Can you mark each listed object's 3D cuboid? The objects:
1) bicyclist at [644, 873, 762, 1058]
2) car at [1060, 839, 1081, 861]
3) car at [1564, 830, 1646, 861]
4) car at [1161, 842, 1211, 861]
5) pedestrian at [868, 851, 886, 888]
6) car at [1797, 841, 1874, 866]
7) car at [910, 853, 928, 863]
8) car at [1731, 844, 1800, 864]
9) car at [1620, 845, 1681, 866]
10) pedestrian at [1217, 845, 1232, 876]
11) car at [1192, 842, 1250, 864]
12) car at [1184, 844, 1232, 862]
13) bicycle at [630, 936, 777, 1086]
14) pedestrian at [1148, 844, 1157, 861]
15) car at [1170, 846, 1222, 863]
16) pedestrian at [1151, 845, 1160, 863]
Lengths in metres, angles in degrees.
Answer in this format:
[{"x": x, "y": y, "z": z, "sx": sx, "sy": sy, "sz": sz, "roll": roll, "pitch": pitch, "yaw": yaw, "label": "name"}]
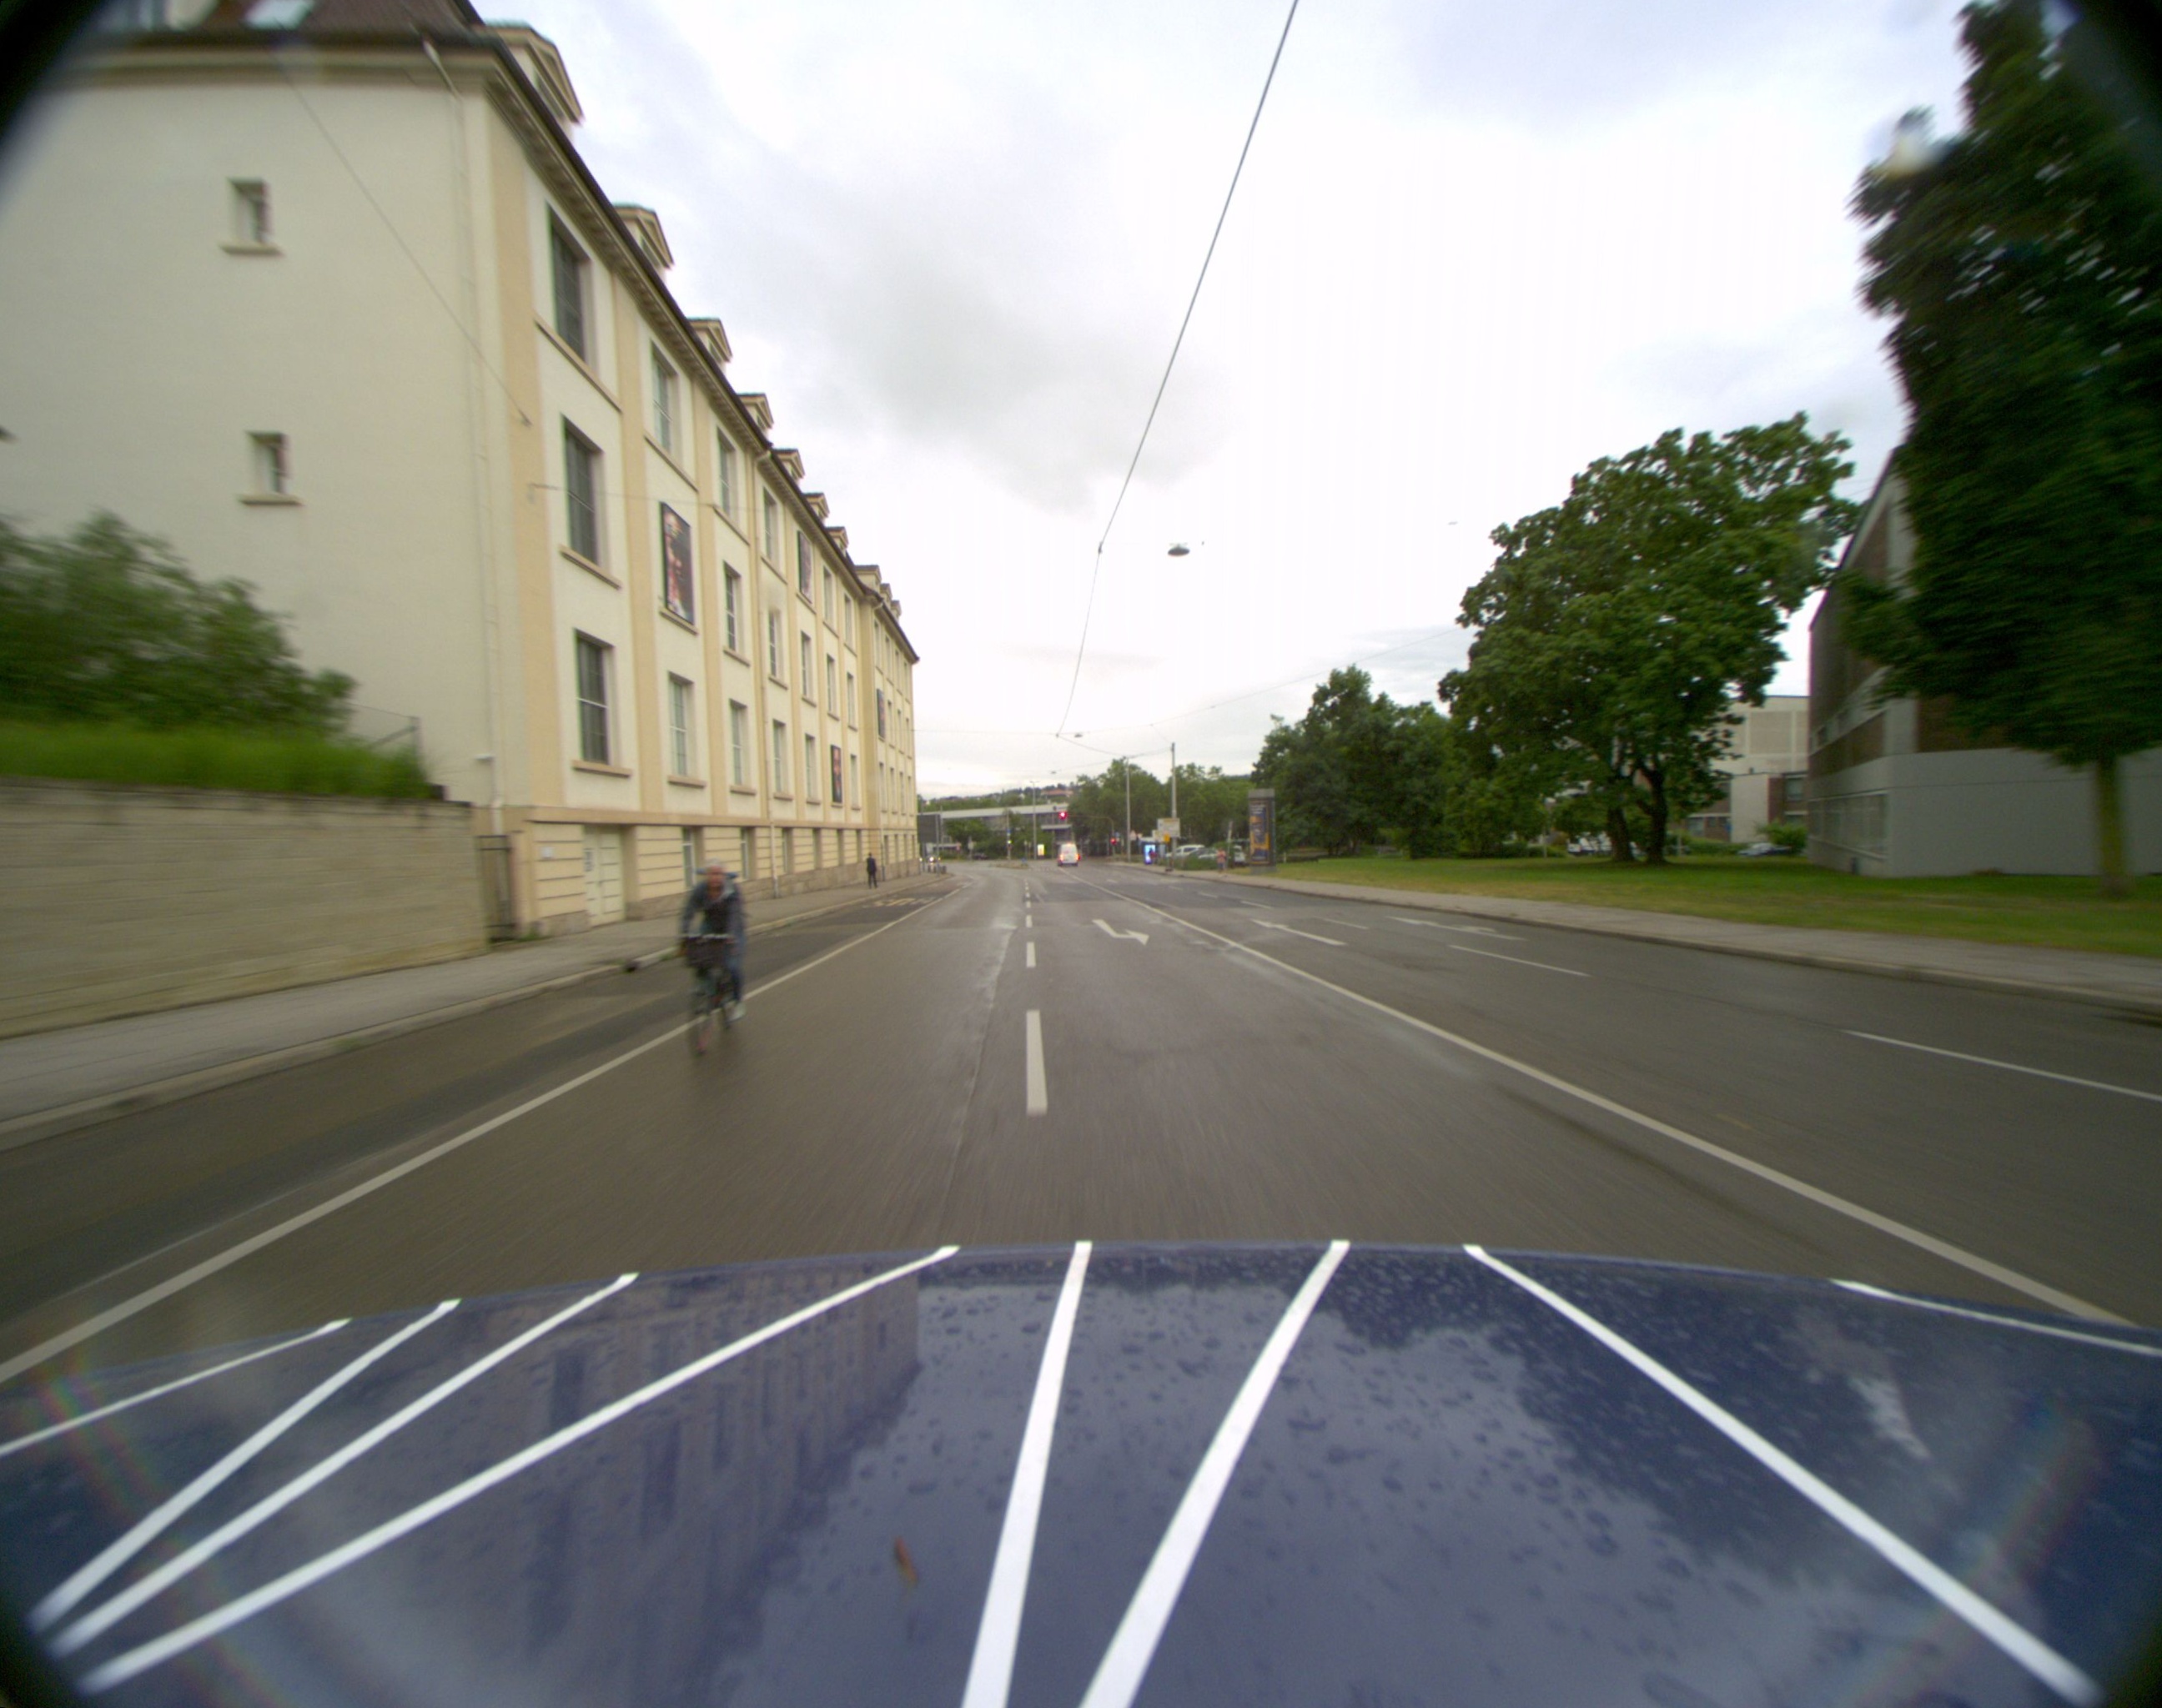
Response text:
[{"x": -3.217, "y": 0.904, "z": 6.541, "sx": 0.485, "sy": 1.425, "sz": 0.930, "roll": -3, "pitch": 2, "yaw": -2, "label": "bicyclist"}, {"x": -1.325, "y": -0.485, "z": 90.864, "sx": 1.989, "sy": 2.514, "sz": 5.628, "roll": -1, "pitch": 0, "yaw": -6, "label": "car"}, {"x": 52.174, "y": -0.867, "z": 75.747, "sx": 6.209, "sy": 2.745, "sz": 2.739, "roll": -3, "pitch": 1, "yaw": 0, "label": "car"}, {"x": 10.776, "y": -0.223, "z": 78.225, "sx": 4.710, "sy": 1.745, "sz": 2.020, "roll": -2, "pitch": 2, "yaw": 38, "label": "car"}, {"x": -10.184, "y": 0.773, "z": 37.924, "sx": 0.672, "sy": 1.787, "sz": 0.851, "roll": -1, "pitch": 1, "yaw": -2, "label": "pedestrian"}, {"x": 53.471, "y": -0.046, "z": 53.902, "sx": 3.999, "sy": 1.510, "sz": 1.797, "roll": -3, "pitch": 1, "yaw": -7, "label": "car"}, {"x": -29.095, "y": 0.711, "z": 136.558, "sx": 2.080, "sy": 1.900, "sz": 4.553, "roll": -1, "pitch": 0, "yaw": -25, "label": "car"}, {"x": 52.759, "y": -0.018, "z": 58.591, "sx": 3.934, "sy": 1.367, "sz": 1.781, "roll": -3, "pitch": 1, "yaw": -7, "label": "car"}, {"x": 50.785, "y": 0.141, "z": 67.827, "sx": 3.998, "sy": 1.740, "sz": 1.999, "roll": -2, "pitch": 0, "yaw": -4, "label": "car"}, {"x": 8.041, "y": 0.379, "z": 42.669, "sx": 0.671, "sy": 1.677, "sz": 0.913, "roll": -3, "pitch": 2, "yaw": 3, "label": "pedestrian"}, {"x": 11.256, "y": -0.097, "z": 61.384, "sx": 1.872, "sy": 1.600, "sz": 4.514, "roll": -4, "pitch": 1, "yaw": -38, "label": "car"}, {"x": 10.879, "y": -0.055, "z": 65.238, "sx": 3.588, "sy": 1.341, "sz": 1.846, "roll": -2, "pitch": 1, "yaw": 34, "label": "car"}, {"x": -3.230, "y": 1.291, "z": 6.664, "sx": 0.448, "sy": 0.957, "sz": 1.689, "roll": -2, "pitch": 0, "yaw": -2, "label": "bicycle"}, {"x": 7.166, "y": -0.175, "z": 76.424, "sx": 0.686, "sy": 1.686, "sz": 0.671, "roll": -3, "pitch": 2, "yaw": -12, "label": "pedestrian"}, {"x": 10.711, "y": 0.057, "z": 70.695, "sx": 4.370, "sy": 1.341, "sz": 1.907, "roll": -2, "pitch": 1, "yaw": 26, "label": "car"}, {"x": 7.385, "y": -0.009, "z": 75.542, "sx": 0.629, "sy": 1.686, "sz": 0.642, "roll": -3, "pitch": 2, "yaw": -12, "label": "pedestrian"}]
